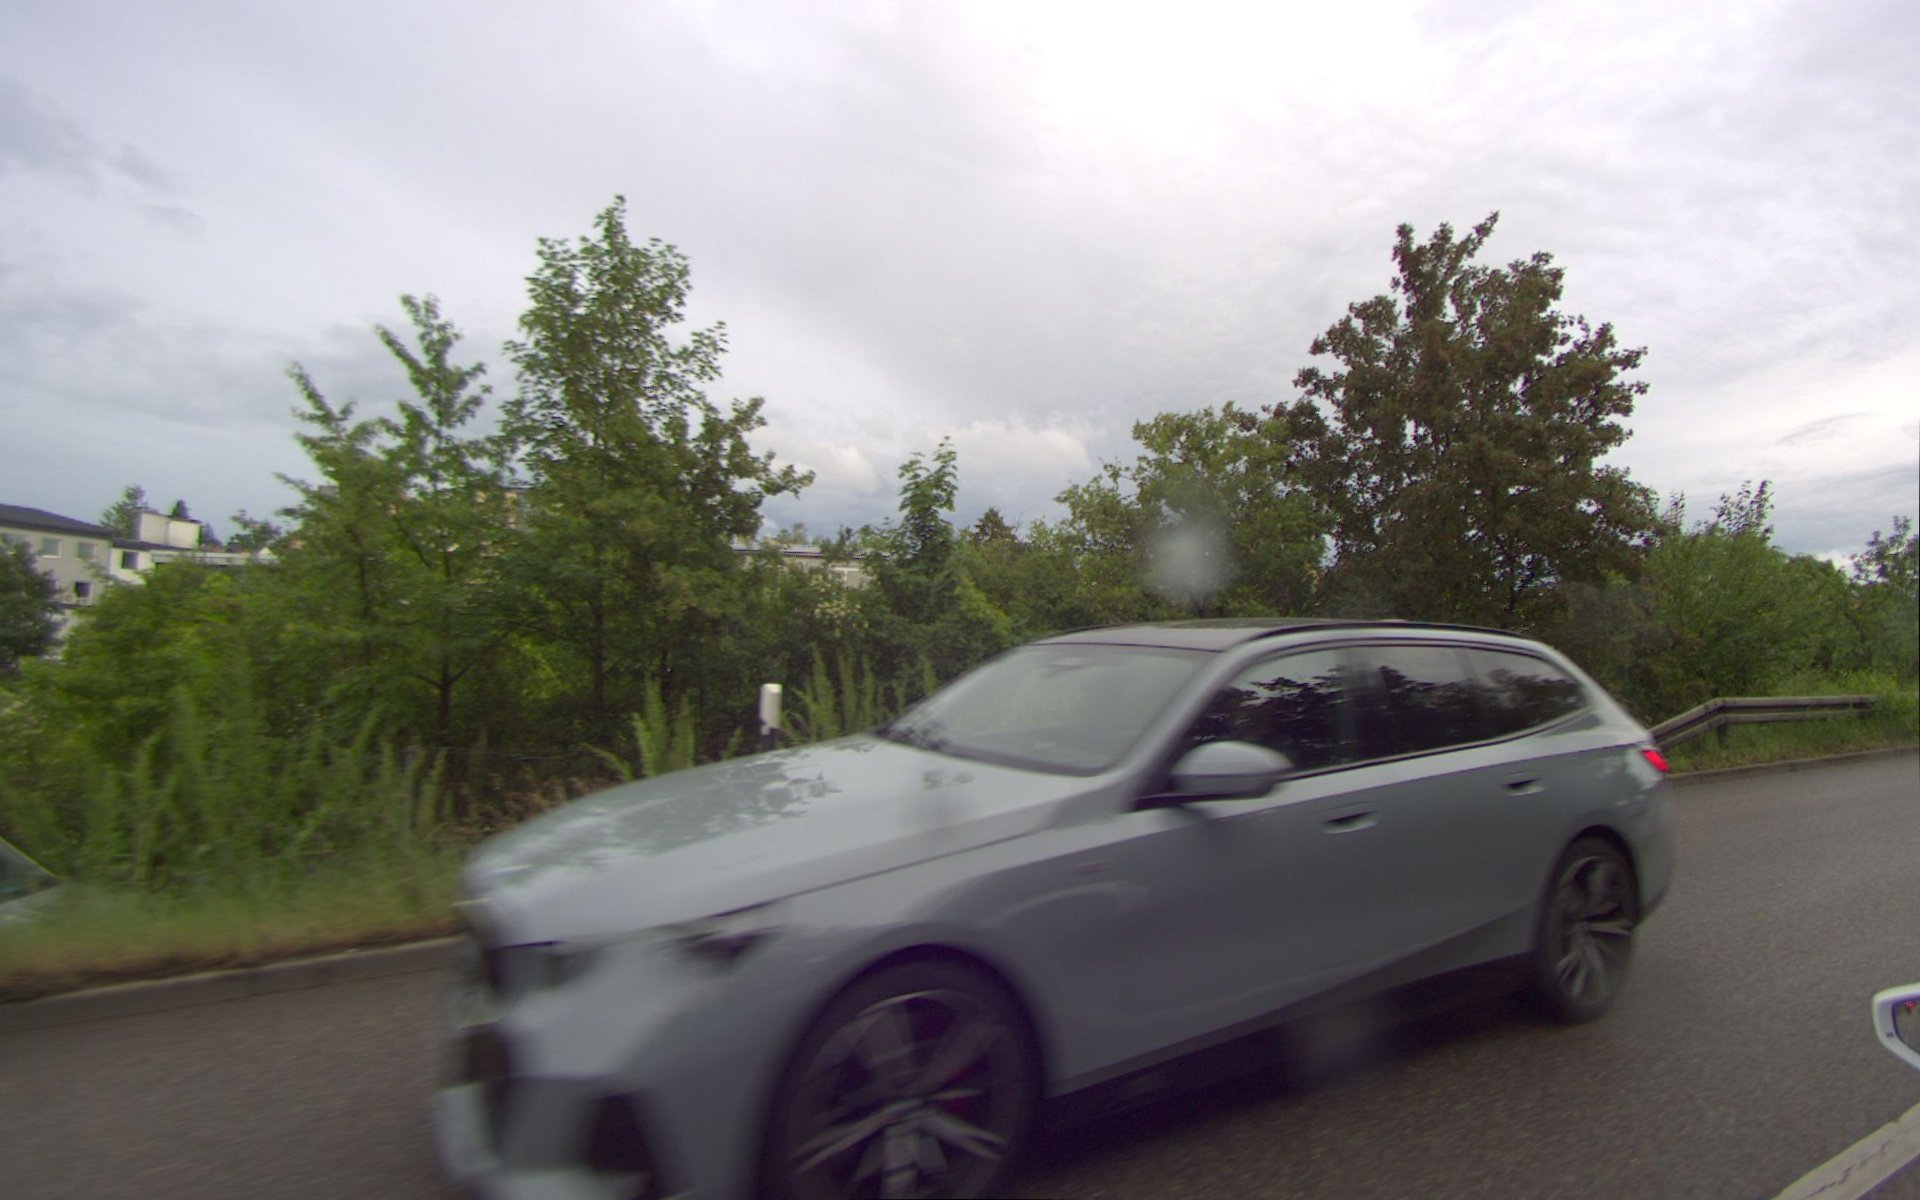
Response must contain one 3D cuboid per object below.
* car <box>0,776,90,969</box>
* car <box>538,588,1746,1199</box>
[{"bbox_3d":[-11.347,2.652,9.039,4.846,1.712,1.986,-1,-6,-16],"label":"car"},{"bbox_3d":[0.965,0.803,3.992,4.673,1.523,1.853,1,-2,-31],"label":"car"}]
